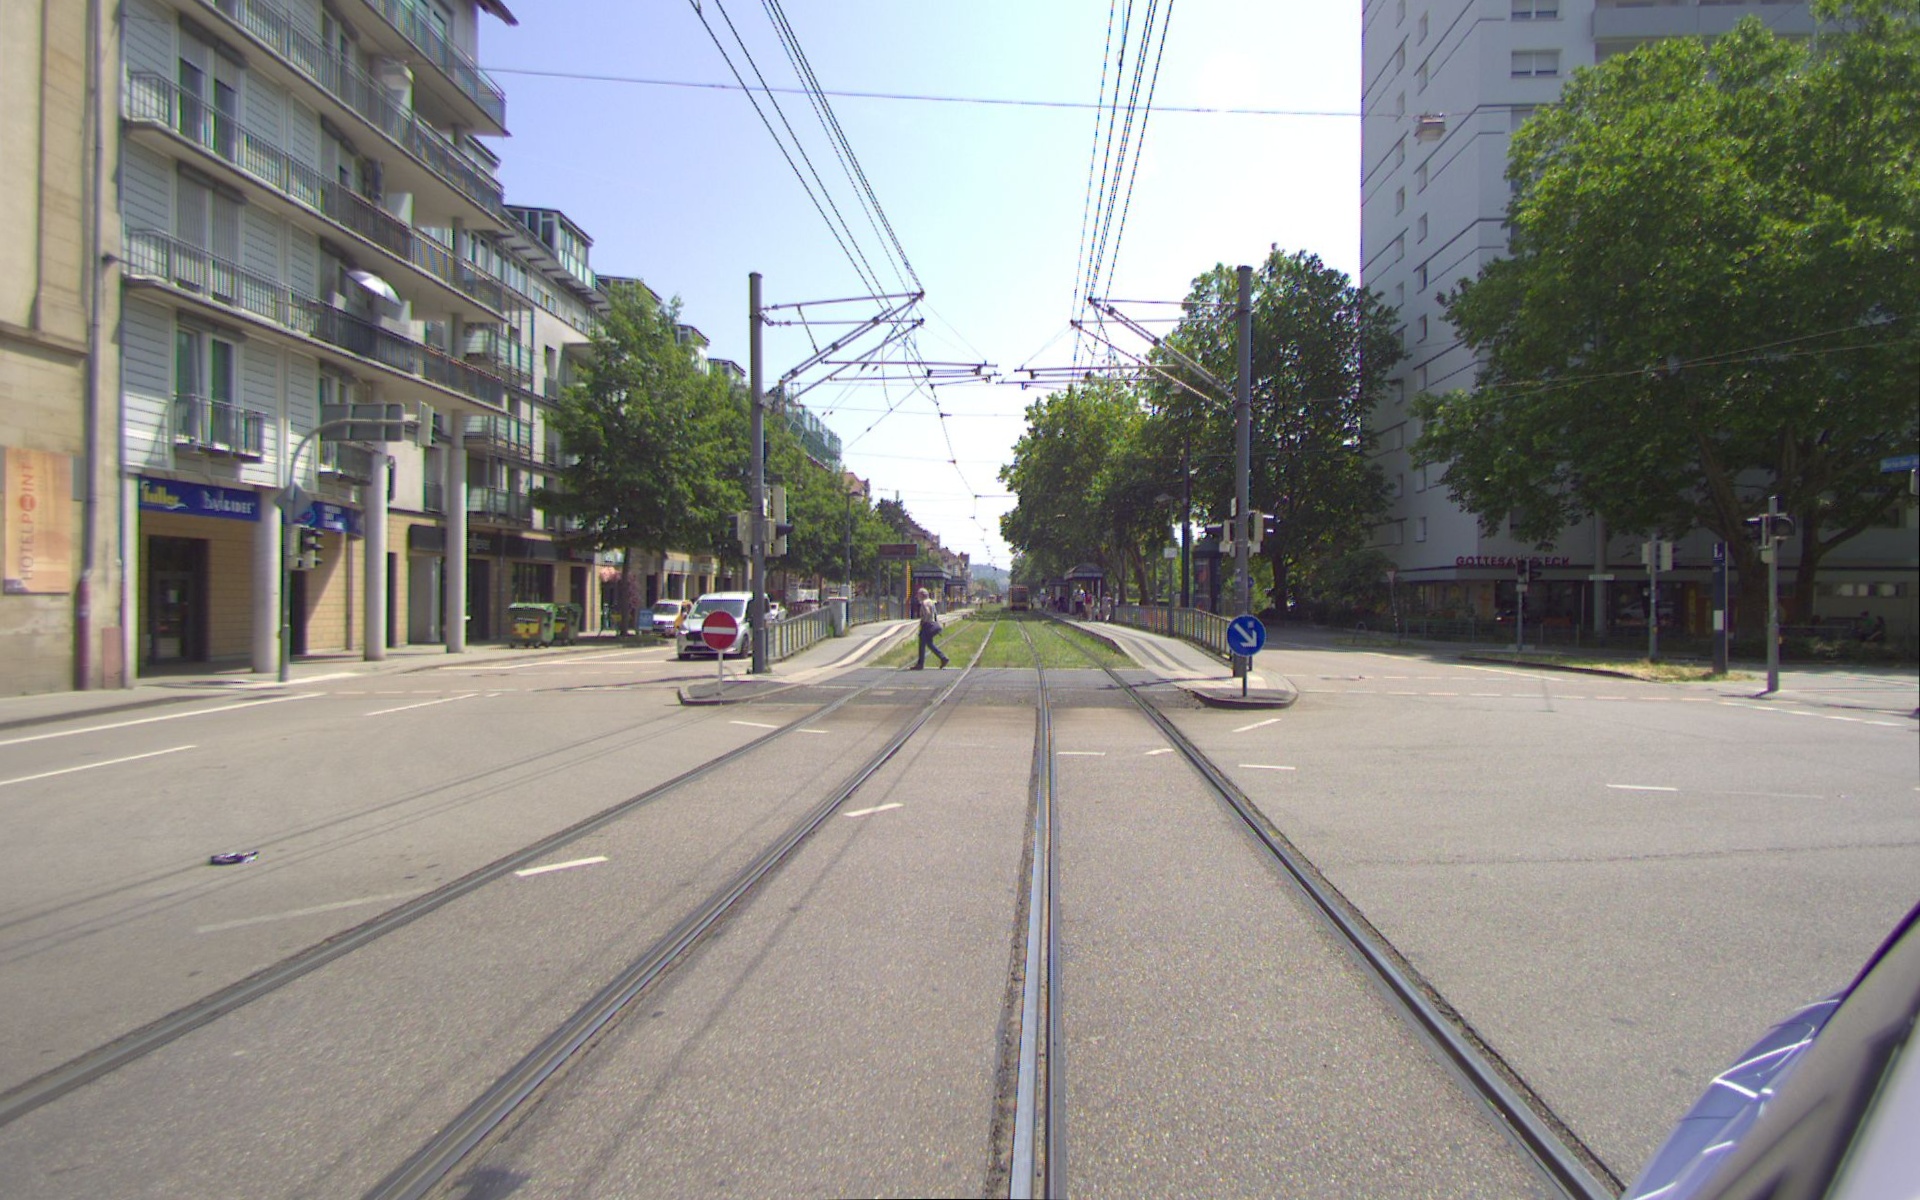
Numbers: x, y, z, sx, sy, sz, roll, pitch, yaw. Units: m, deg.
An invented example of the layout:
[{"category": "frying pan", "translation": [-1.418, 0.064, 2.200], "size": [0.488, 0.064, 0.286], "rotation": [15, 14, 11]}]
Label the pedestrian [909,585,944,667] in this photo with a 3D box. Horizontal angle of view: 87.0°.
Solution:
[{"category": "pedestrian", "translation": [-0.702, 0.546, 21.568], "size": [0.668, 1.727, 0.553], "rotation": [0, 0, 6]}]

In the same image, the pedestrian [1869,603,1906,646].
[{"category": "pedestrian", "translation": [30.569, 0.809, 33.359], "size": [0.627, 1.382, 0.594], "rotation": [0, 0, -2]}]

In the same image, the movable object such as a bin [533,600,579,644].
[{"category": "movable object such as a bin", "translation": [-13.920, 0.752, 34.889], "size": [1.191, 1.454, 1.009], "rotation": [0, 0, -3]}]

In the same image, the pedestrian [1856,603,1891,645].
[{"category": "pedestrian", "translation": [30.725, 0.802, 34.029], "size": [0.627, 1.382, 0.594], "rotation": [0, 0, -2]}]

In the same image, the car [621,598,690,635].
[{"category": "car", "translation": [-13.829, 0.716, 46.156], "size": [1.962, 1.550, 4.000], "rotation": [0, 0, 0]}]

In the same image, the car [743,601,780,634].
[{"category": "car", "translation": [-13.026, 1.122, 66.513], "size": [1.960, 2.039, 4.004], "rotation": [0, 0, -5]}]

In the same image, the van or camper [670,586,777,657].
[{"category": "van or camper", "translation": [-6.445, 0.525, 28.039], "size": [1.735, 1.780, 4.591], "rotation": [-1, 0, 2]}]

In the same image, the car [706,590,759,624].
[{"category": "car", "translation": [-12.357, 0.339, 55.201], "size": [1.962, 1.794, 4.000], "rotation": [0, 0, 0]}]

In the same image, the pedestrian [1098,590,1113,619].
[{"category": "pedestrian", "translation": [7.129, 0.216, 49.675], "size": [0.667, 1.366, 0.631], "rotation": [0, 0, 2]}]

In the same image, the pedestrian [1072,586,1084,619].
[{"category": "pedestrian", "translation": [5.952, 0.111, 50.978], "size": [0.543, 1.626, 0.680], "rotation": [0, 0, 2]}]

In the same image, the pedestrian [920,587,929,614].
[{"category": "pedestrian", "translation": [-2.150, 0.024, 61.446], "size": [0.540, 1.626, 0.553], "rotation": [0, 0, 2]}]

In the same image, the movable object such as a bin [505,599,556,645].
[{"category": "movable object such as a bin", "translation": [-13.888, 0.709, 32.753], "size": [1.194, 1.454, 1.007], "rotation": [0, 0, 6]}]

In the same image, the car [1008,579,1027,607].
[{"category": "car", "translation": [7.470, -0.880, 130.006], "size": [2.235, 3.381, 12.021], "rotation": [0, 0, 4]}]

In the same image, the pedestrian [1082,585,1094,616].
[{"category": "pedestrian", "translation": [6.647, 0.028, 52.550], "size": [0.537, 1.600, 0.515], "rotation": [0, 0, 2]}]
